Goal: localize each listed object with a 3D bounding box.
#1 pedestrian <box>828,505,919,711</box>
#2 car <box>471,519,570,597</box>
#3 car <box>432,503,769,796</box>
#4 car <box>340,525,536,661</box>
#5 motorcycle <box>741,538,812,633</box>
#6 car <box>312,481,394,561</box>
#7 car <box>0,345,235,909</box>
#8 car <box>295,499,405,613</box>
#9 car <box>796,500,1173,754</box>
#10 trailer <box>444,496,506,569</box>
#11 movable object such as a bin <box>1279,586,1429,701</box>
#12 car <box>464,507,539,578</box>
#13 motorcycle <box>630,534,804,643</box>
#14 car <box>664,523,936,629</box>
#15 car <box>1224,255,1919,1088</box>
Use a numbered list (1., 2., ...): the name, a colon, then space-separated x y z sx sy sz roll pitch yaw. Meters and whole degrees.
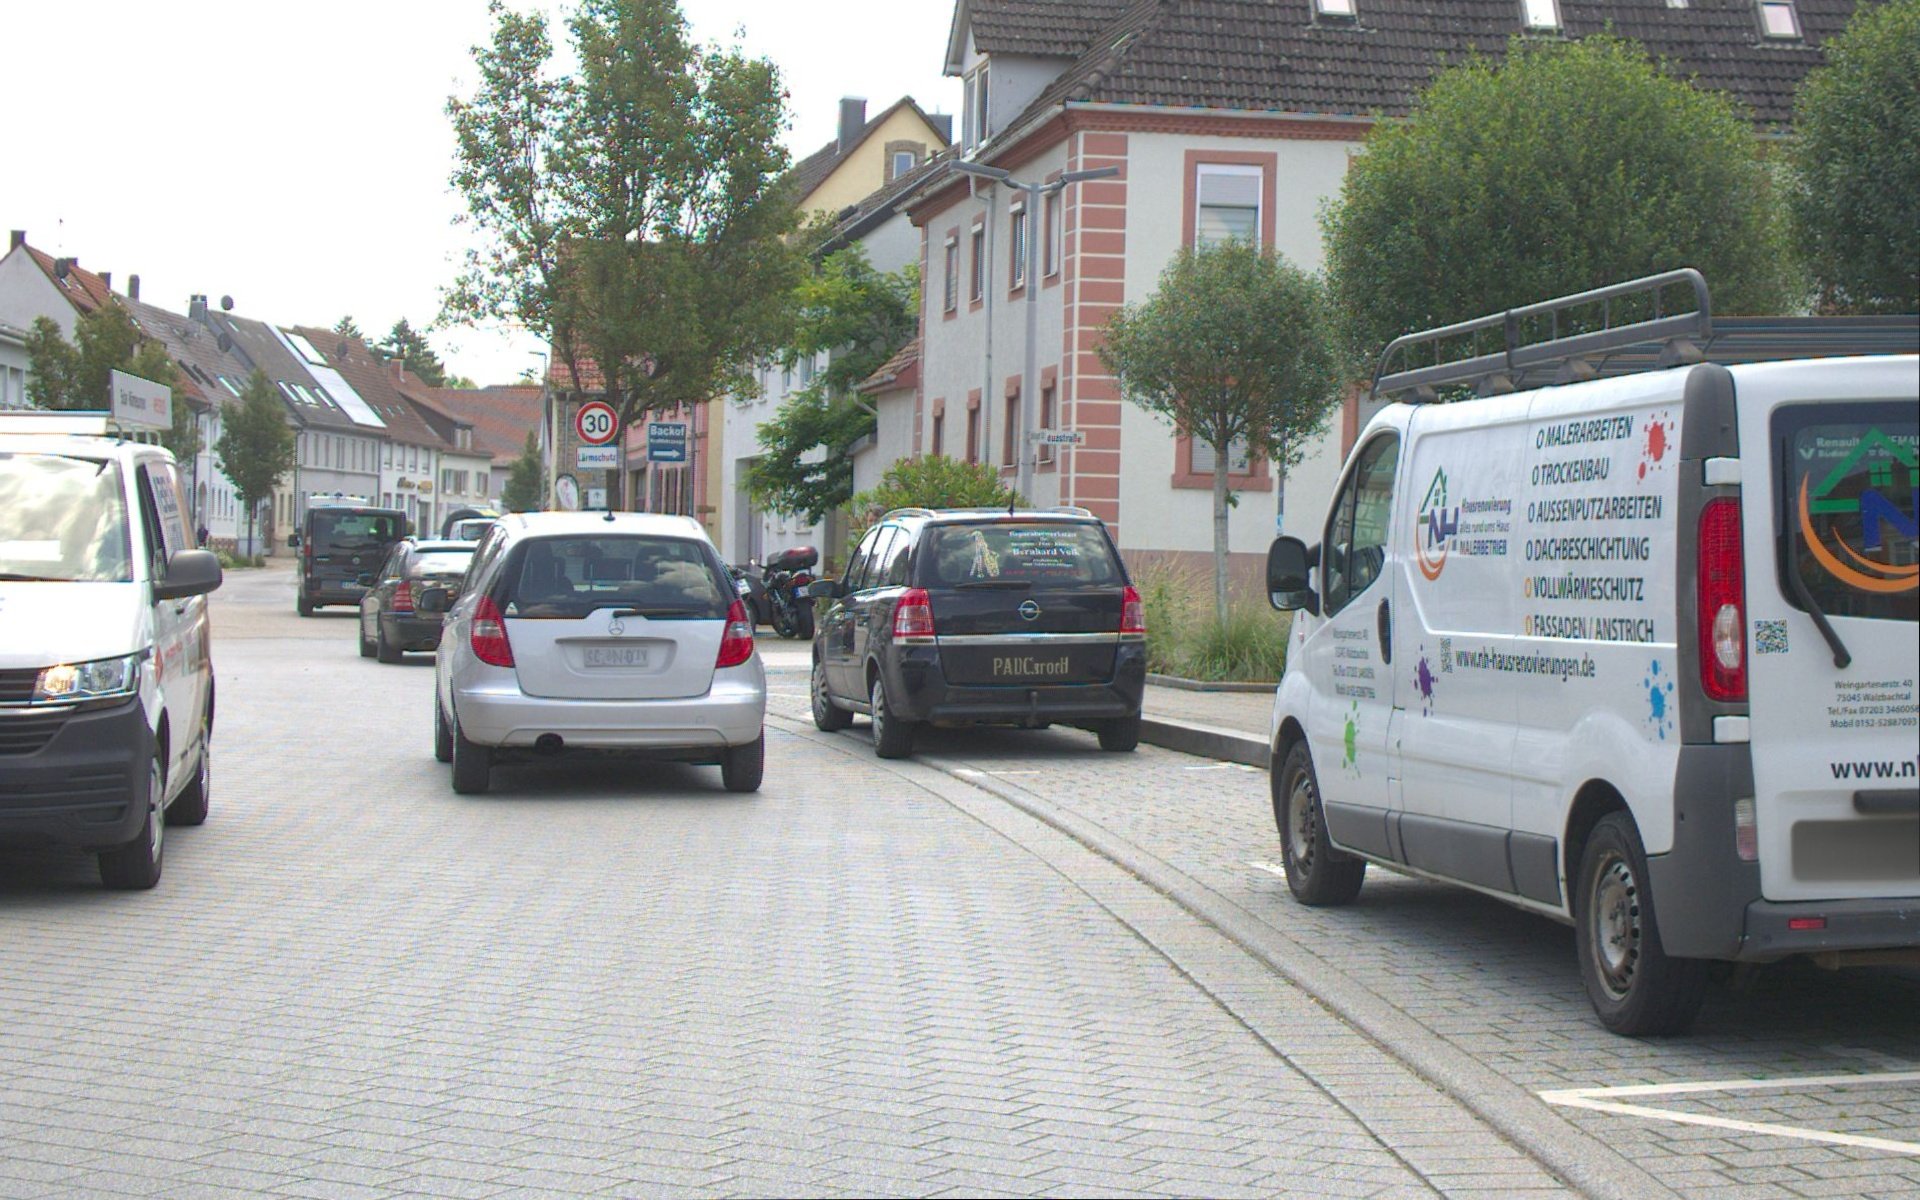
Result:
1. pedestrian: -0.702 0.058 27.672 0.638 1.623 0.620 1 1 -7
2. car: -9.965 -0.966 77.747 1.993 1.675 4.324 1 1 -10
3. car: -2.262 0.223 20.755 1.768 1.589 4.001 0 1 -10
4. car: -5.979 -0.112 39.050 1.944 1.402 4.001 1 1 -12
5. motorcycle: -2.555 -0.216 48.117 0.959 1.294 2.226 0 1 -3
6. car: -17.338 -2.231 98.334 2.235 2.214 4.001 0 0 -9
7. car: -4.437 0.047 15.705 1.887 2.178 5.032 1 1 -9
8. car: -11.006 -0.788 62.208 1.768 1.881 4.448 4 0 -9
9. car: 0.060 0.128 23.590 1.768 1.559 4.420 1 1 -10
10. trailer: -15.953 -2.230 112.992 1.844 2.346 3.590 1 1 -11
11. movable object such as a bin: 3.179 0.342 27.873 0.734 0.863 1.436 2 1 -13
12. car: -13.187 -1.659 98.706 1.891 1.975 4.932 -1 1 -10
13. motorcycle: -3.254 -0.165 45.906 2.222 1.390 0.871 2 1 33
14. car: -2.459 -0.387 52.427 3.847 1.572 1.851 -1 1 -14
15. car: 2.474 0.121 11.630 1.942 2.170 5.103 -1 1 -10
